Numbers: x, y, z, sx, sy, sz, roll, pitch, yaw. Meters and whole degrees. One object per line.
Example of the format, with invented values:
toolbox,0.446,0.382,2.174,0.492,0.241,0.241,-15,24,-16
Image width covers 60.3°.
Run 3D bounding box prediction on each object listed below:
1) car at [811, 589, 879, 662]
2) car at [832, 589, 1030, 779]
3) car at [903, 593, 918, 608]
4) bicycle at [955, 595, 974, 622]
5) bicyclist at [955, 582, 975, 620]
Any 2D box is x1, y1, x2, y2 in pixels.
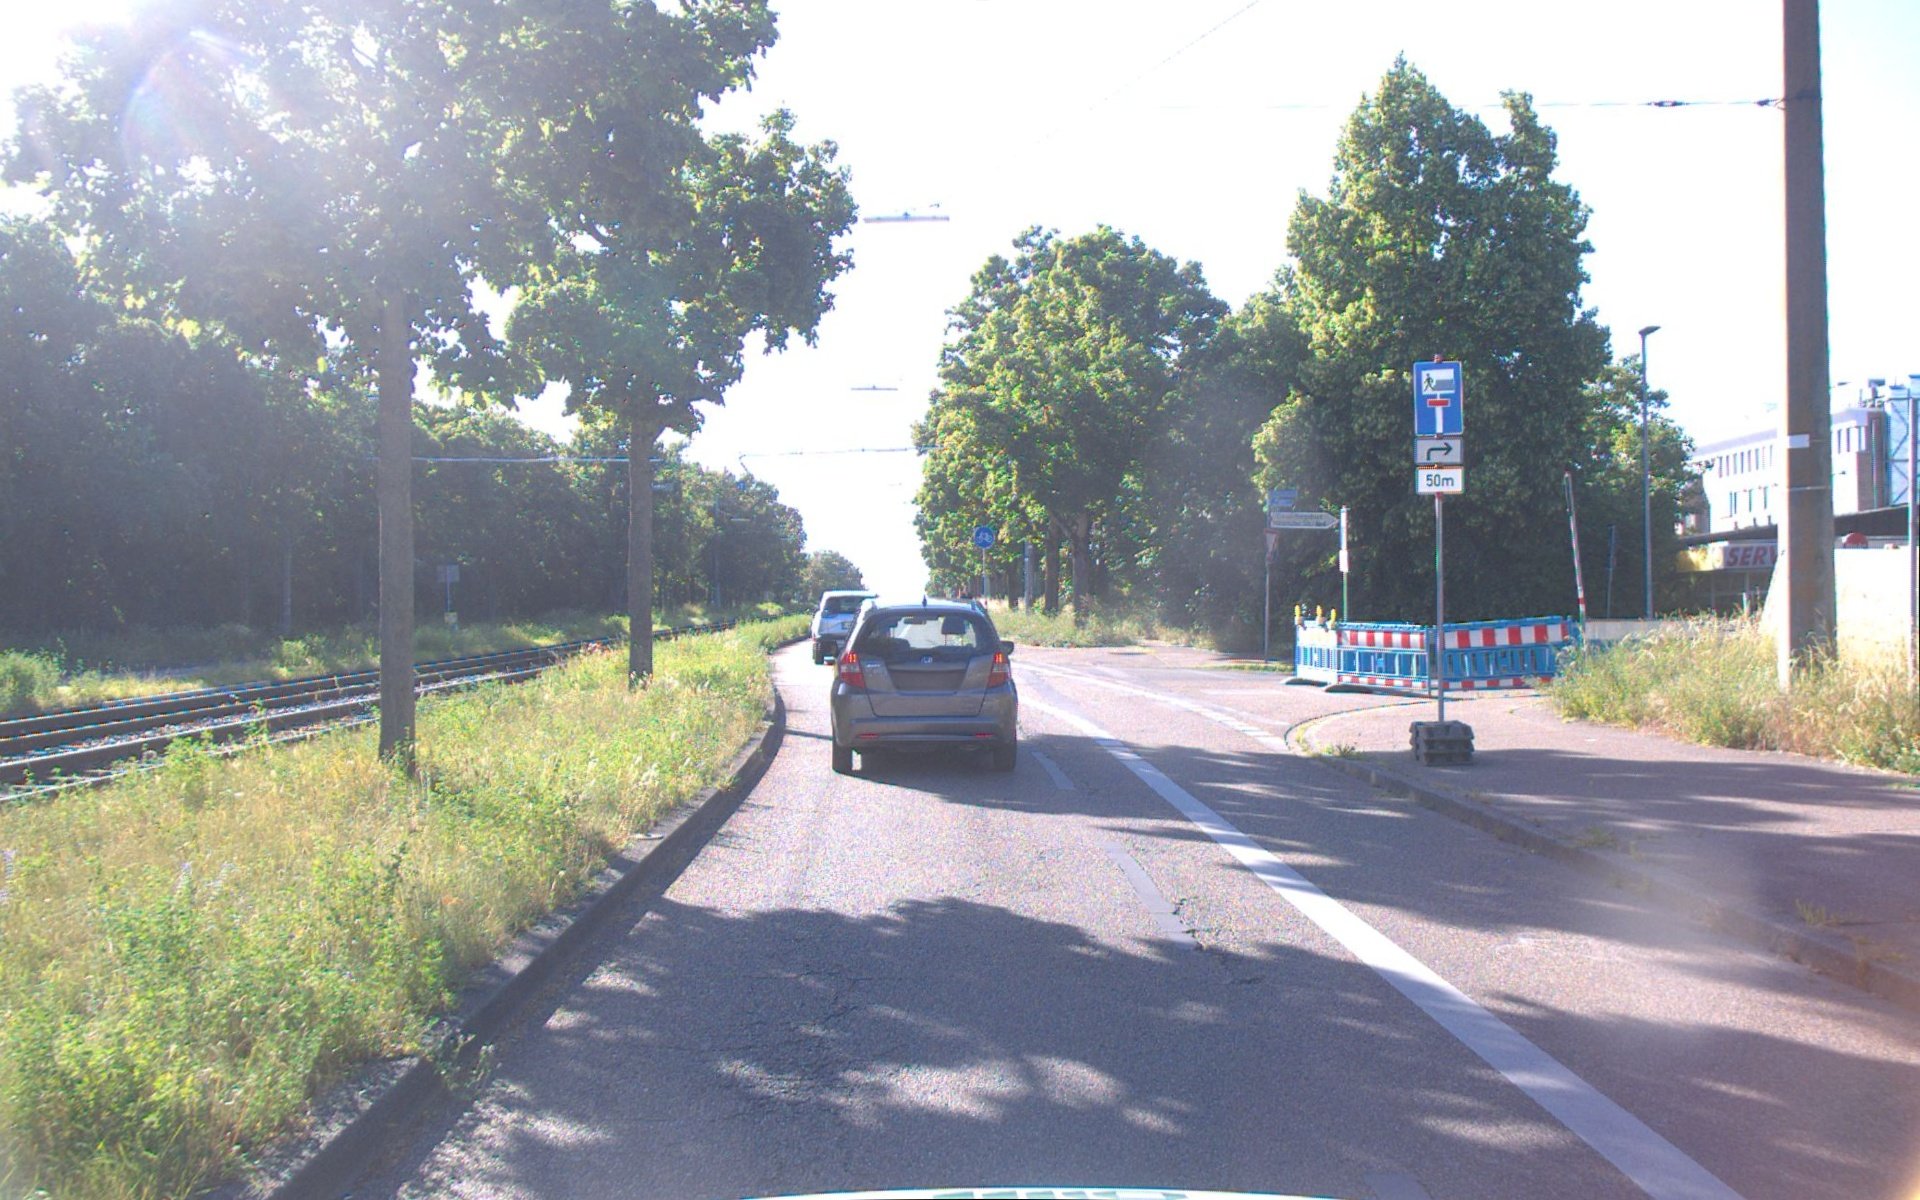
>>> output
car,-2.622,0.575,37.199,1.326,1.554,3.118,-1,-1,-7
car,-0.372,0.699,15.730,1.638,1.542,3.671,1,1,-4
car,-7.550,0.107,251.562,1.953,2.048,3.999,-4,-1,0
bicycle,0.193,0.376,69.272,0.801,1.066,2.505,0,-2,0
bicyclist,0.204,0.032,69.301,0.801,1.551,0.966,0,-2,0
